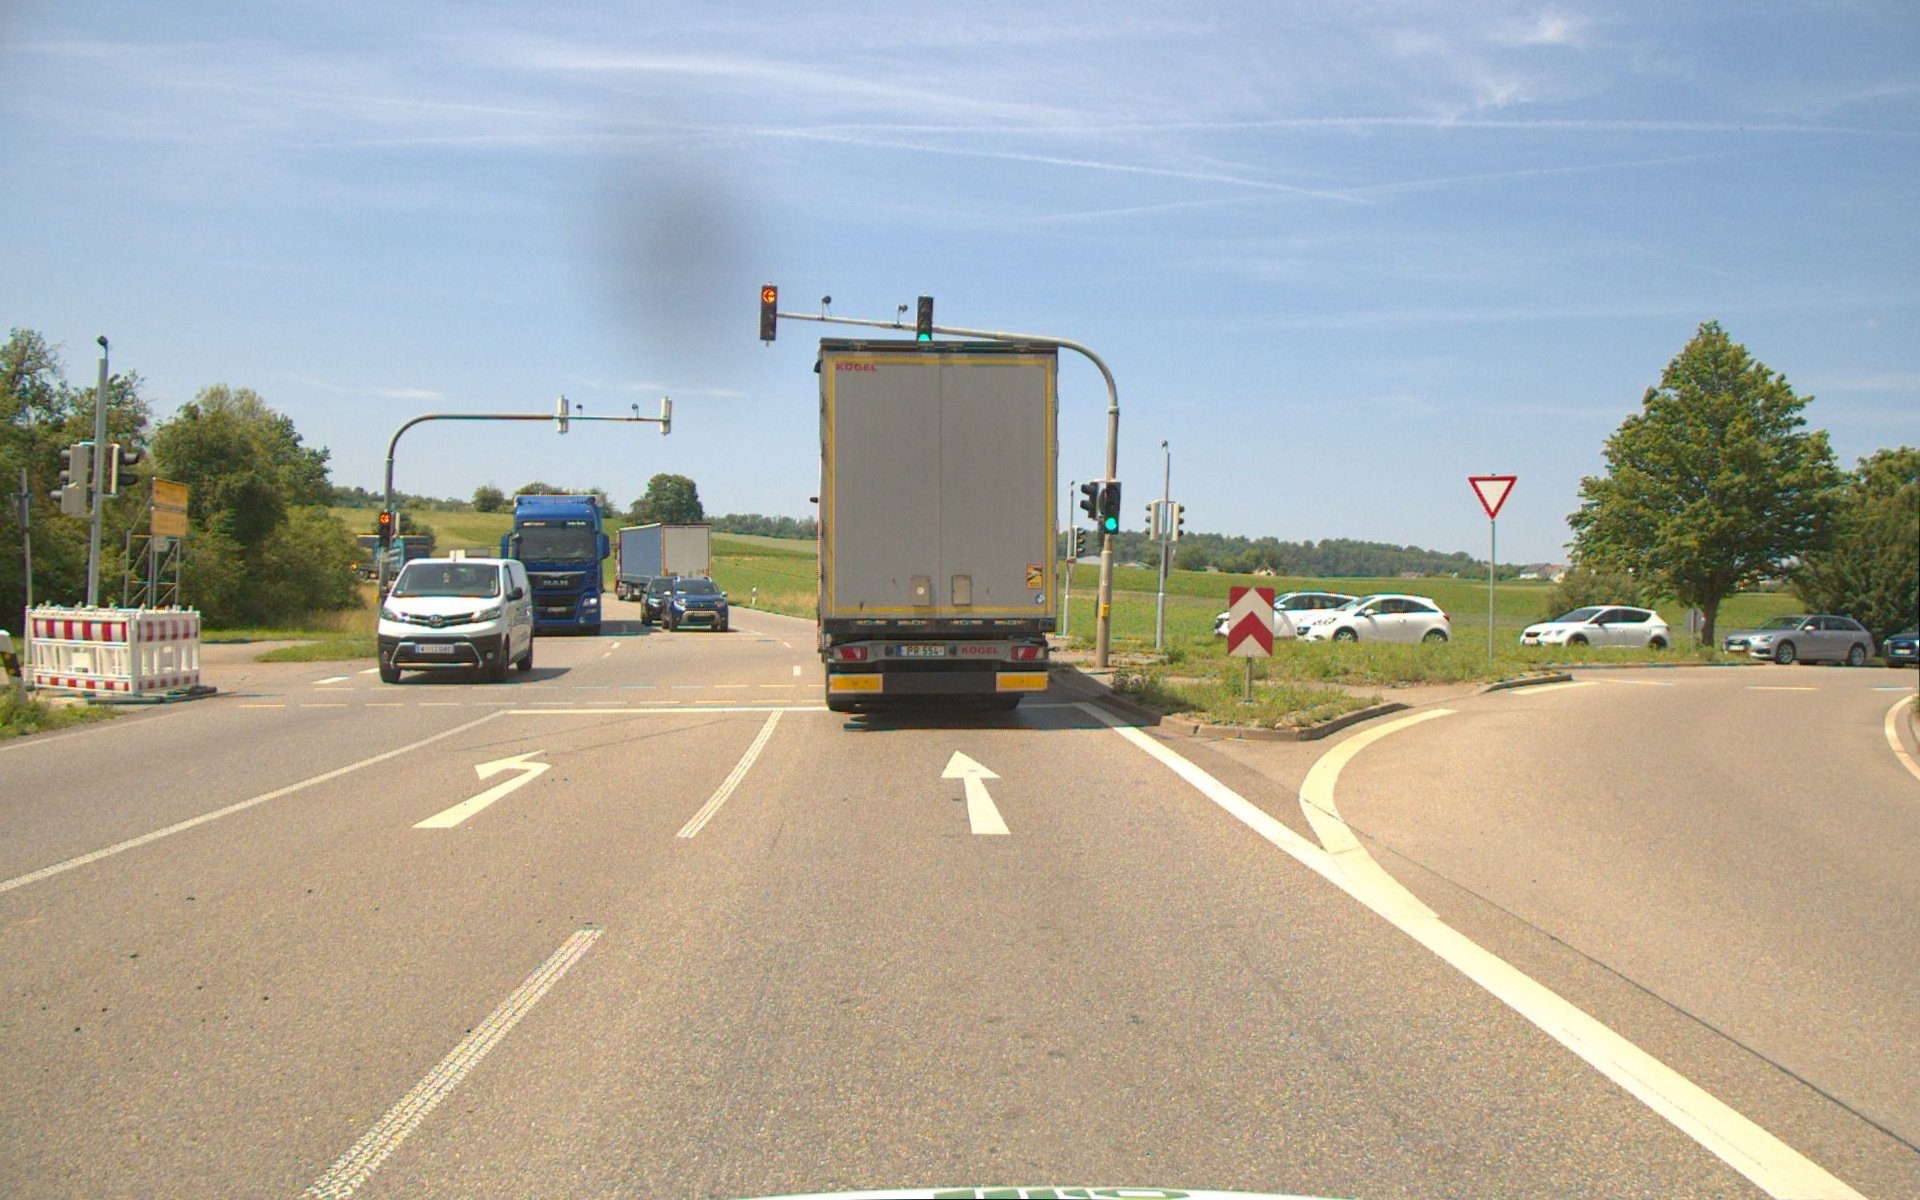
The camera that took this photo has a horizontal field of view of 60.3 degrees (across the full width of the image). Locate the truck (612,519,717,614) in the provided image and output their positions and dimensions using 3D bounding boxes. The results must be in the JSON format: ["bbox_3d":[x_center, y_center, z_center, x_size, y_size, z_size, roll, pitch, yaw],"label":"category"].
[{"bbox_3d":[-16.130,-1.572,88.959,2.917,4.664,16.220,0,-1,-20],"label":"truck"}]

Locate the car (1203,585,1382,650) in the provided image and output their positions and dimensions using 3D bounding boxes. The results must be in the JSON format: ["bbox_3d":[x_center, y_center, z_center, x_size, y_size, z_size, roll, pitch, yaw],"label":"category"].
[{"bbox_3d":[9.297,0.514,46.451,4.536,1.635,1.996,2,-2,-6],"label":"car"}]

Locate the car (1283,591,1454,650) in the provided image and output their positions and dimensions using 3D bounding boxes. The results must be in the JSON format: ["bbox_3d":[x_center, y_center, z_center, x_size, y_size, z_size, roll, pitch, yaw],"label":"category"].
[{"bbox_3d":[10.457,0.543,42.437,3.888,1.444,1.824,1,-1,-10],"label":"car"}]

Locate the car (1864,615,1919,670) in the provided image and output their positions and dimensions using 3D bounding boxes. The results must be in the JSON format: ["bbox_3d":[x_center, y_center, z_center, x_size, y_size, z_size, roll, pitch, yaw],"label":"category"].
[{"bbox_3d":[28.775,1.304,48.414,4.489,1.536,1.786,3,-2,-25],"label":"car"}]

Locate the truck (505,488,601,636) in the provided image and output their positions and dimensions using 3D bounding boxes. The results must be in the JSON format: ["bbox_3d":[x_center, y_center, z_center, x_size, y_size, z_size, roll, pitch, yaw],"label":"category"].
[{"bbox_3d":[-11.968,-1.103,49.052,2.521,4.100,6.541,0,1,-12],"label":"truck"}]

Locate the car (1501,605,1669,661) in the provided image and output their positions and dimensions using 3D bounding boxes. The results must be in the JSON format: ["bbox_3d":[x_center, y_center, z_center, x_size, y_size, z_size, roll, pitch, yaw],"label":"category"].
[{"bbox_3d":[16.768,0.879,44.389,4.029,1.444,1.791,1,-1,-18],"label":"car"}]

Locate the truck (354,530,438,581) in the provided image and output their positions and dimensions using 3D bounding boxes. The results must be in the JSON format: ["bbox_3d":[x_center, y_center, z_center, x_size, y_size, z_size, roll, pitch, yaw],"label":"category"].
[{"bbox_3d":[-53.267,-4.091,155.856,3.503,4.315,13.227,2,-1,-37],"label":"truck"}]

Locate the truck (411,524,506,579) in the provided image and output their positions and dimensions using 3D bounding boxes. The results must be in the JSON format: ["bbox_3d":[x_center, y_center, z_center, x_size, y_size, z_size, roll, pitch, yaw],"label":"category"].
[{"bbox_3d":[-43.319,-4.065,142.475,3.610,4.202,12.922,2,-1,-37],"label":"truck"}]

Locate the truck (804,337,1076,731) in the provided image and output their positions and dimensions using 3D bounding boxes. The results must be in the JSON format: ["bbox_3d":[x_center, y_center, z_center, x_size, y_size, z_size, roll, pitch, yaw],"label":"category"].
[{"bbox_3d":[-0.545,-0.704,21.864,2.753,4.015,9.582,1,0,-4],"label":"truck"}]

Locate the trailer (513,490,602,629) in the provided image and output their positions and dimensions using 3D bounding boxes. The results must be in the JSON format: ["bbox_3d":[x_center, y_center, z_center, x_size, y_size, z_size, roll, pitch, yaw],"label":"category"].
[{"bbox_3d":[-13.336,-1.300,55.606,2.521,4.100,13.554,0,1,-12],"label":"trailer"}]

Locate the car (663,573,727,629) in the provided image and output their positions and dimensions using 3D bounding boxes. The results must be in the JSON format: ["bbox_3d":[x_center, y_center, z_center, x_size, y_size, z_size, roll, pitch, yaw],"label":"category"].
[{"bbox_3d":[-8.297,0.013,51.632,1.740,1.687,3.987,0,0,-13],"label":"car"}]

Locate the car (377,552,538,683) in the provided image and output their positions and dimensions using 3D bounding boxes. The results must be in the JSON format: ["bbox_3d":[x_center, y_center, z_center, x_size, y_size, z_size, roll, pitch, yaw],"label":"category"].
[{"bbox_3d":[-8.000,0.244,26.747,1.836,1.919,4.940,0,0,-9],"label":"car"}]

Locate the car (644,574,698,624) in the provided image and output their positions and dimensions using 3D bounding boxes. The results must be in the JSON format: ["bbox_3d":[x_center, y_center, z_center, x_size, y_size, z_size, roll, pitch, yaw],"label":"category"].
[{"bbox_3d":[-10.096,-0.034,57.612,1.740,1.687,3.988,0,0,-12],"label":"car"}]

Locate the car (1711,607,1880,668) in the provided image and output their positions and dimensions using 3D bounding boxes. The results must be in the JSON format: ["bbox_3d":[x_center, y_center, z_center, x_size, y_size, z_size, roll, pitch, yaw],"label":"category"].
[{"bbox_3d":[23.397,1.054,46.290,4.486,1.536,1.788,2,-2,-24],"label":"car"}]
